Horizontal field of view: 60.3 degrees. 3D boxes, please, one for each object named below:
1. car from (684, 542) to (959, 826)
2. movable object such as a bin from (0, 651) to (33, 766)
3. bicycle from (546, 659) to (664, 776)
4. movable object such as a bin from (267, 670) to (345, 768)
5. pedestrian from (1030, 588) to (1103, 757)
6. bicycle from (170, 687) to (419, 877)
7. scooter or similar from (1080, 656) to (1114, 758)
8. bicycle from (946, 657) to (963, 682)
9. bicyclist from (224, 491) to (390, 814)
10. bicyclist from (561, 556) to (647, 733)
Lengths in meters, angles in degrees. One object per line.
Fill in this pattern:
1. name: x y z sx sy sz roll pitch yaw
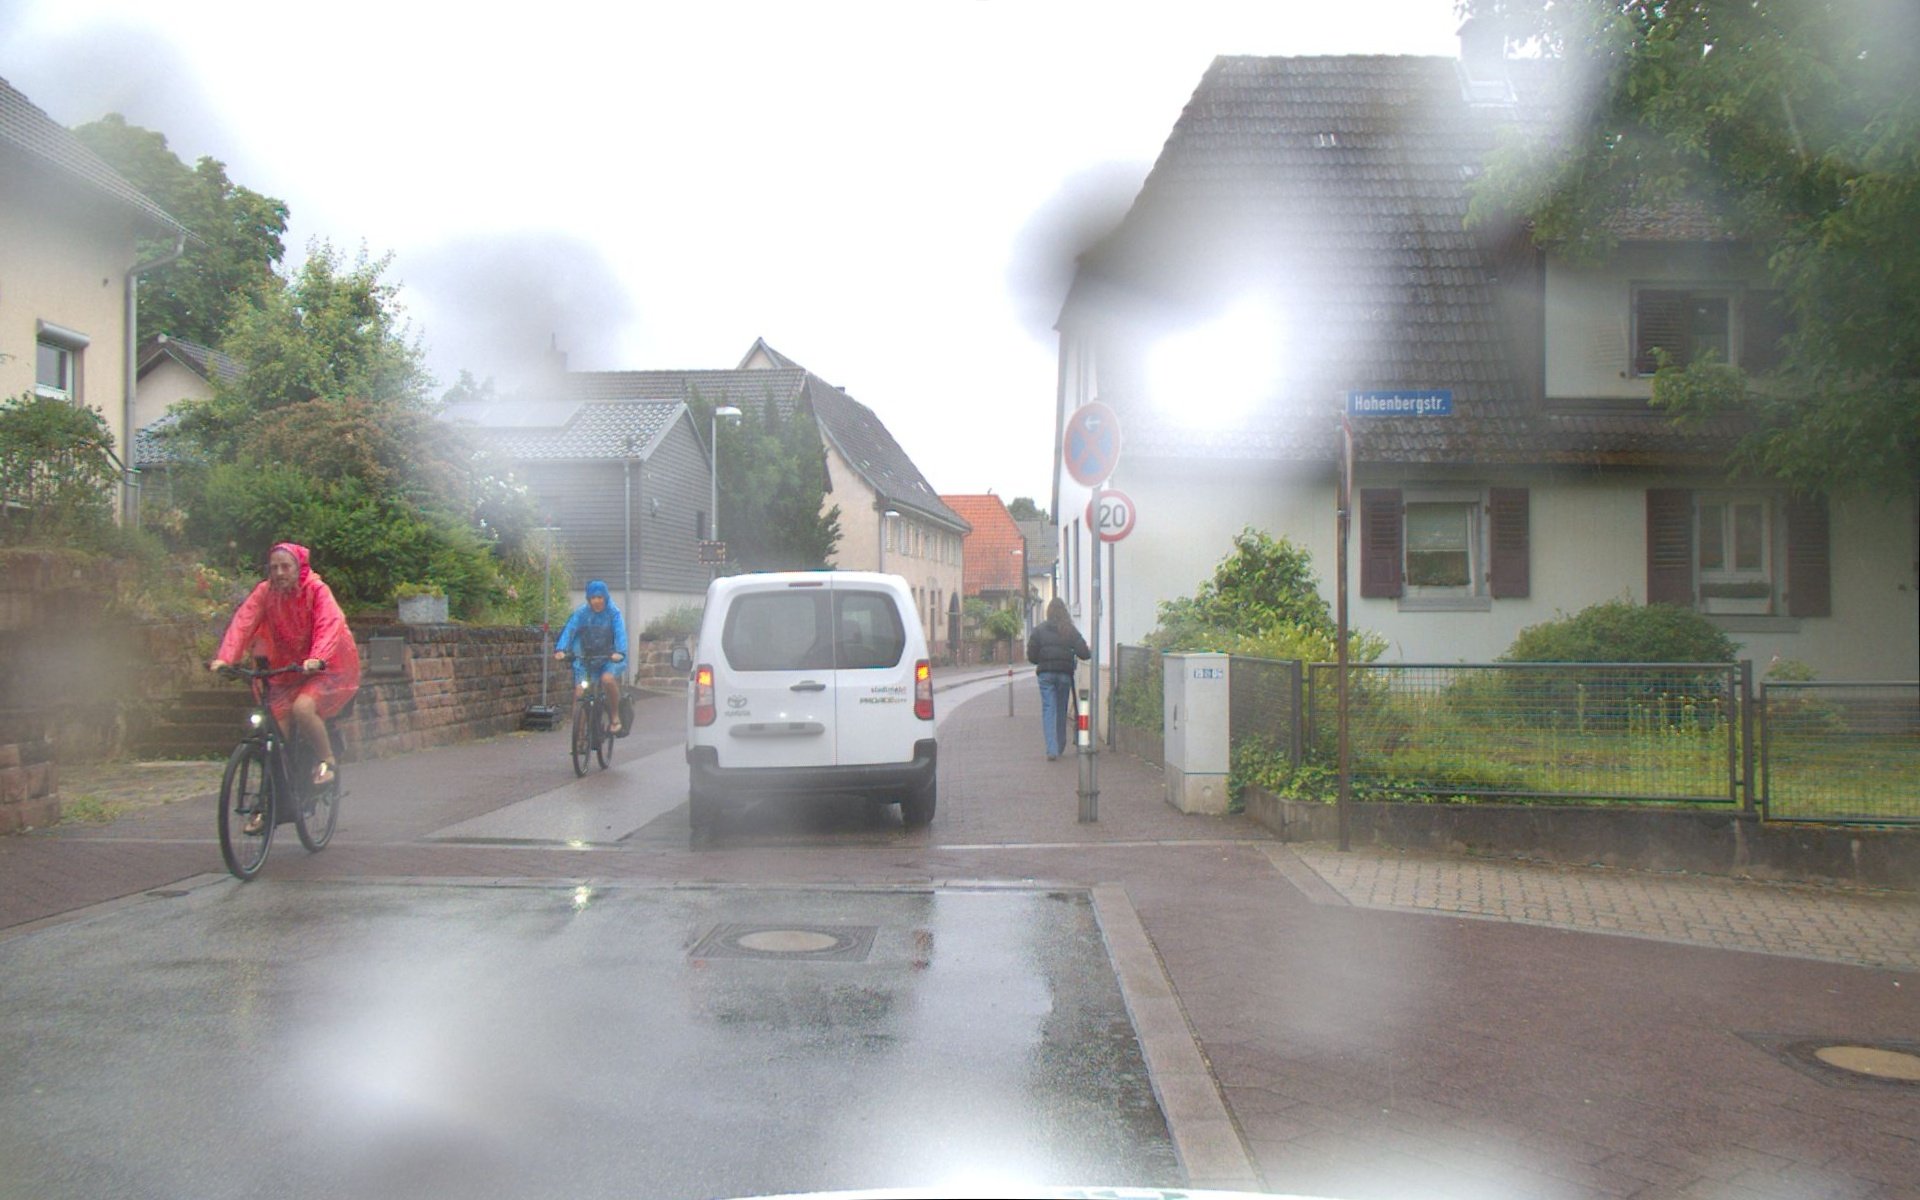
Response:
1. car: -1.246 0.668 13.121 1.762 1.851 4.091 2 -3 -10
2. movable object such as a bin: -9.538 1.055 16.122 0.609 1.081 0.656 1 0 1
3. bicycle: -3.592 1.162 16.934 0.667 1.069 2.339 1 -1 0
4. movable object such as a bin: -6.510 1.174 16.477 0.527 0.947 0.544 1 -3 -2
5. pedestrian: 1.142 0.770 17.849 0.680 1.763 0.821 2 -2 0
6. bicycle: -3.820 1.009 9.676 0.647 0.885 1.935 1 0 0
7. scooter or similar: 1.471 1.132 17.804 0.240 1.046 1.100 2 -1 0
8. bicycle: -0.256 3.464 82.186 0.473 1.201 1.836 1 -3 11
9. bicyclist: -3.799 0.296 9.665 0.643 1.801 0.703 1 0 0
10. bicyclist: -3.615 0.456 16.840 0.673 1.743 0.703 1 -3 0
